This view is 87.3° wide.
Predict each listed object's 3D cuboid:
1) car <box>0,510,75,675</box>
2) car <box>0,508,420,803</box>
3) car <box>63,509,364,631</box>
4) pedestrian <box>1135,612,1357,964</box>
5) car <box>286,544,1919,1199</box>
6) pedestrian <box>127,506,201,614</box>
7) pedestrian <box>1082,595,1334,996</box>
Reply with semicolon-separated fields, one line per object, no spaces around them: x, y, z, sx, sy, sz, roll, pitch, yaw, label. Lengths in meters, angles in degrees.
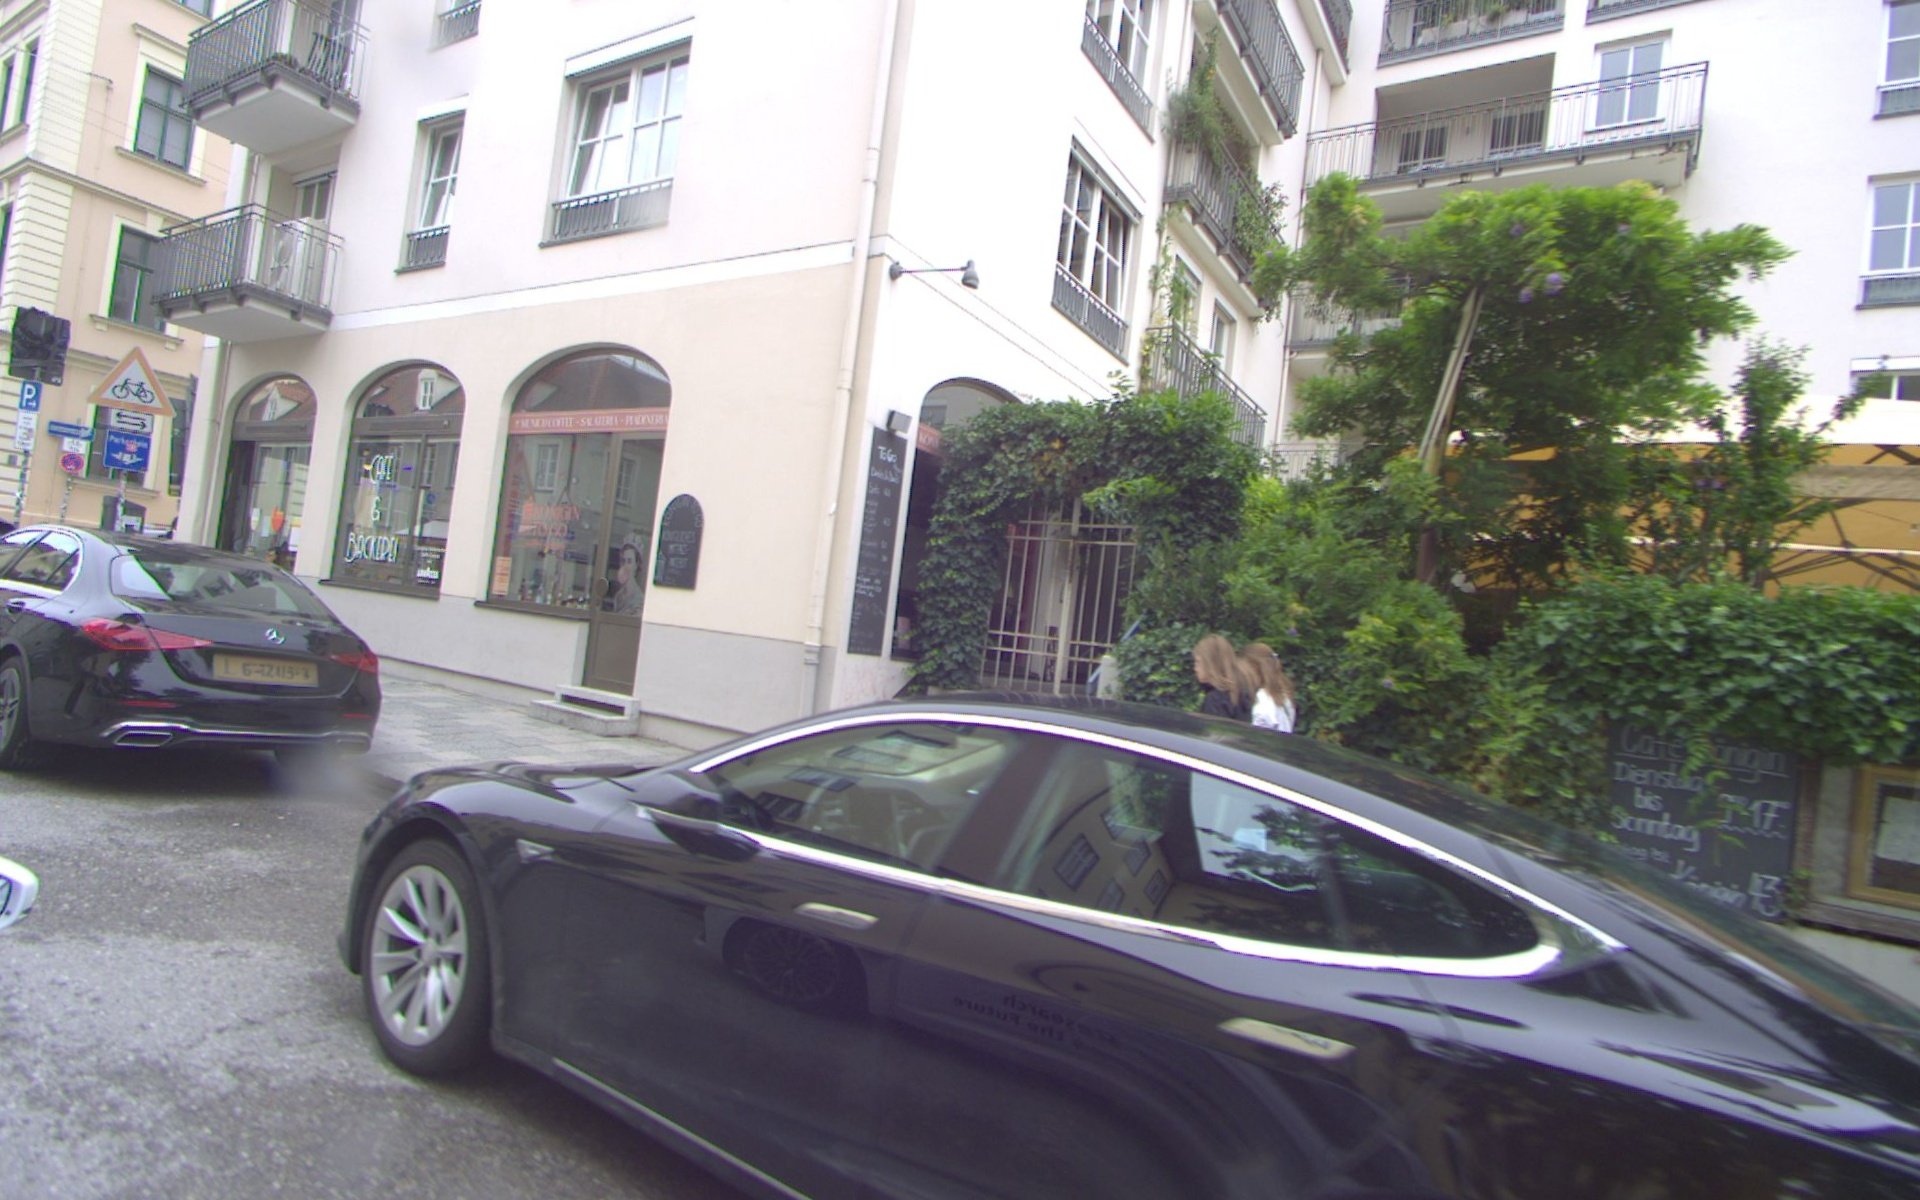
-10.585;-0.350;9.766;4.133;1.439;1.681;7;-4;31;car
-5.939;0.224;7.055;4.435;1.439;1.651;7;-4;32;car
-13.932;-0.492;19.039;1.726;1.624;4.097;8;-1;31;car
1.576;0.964;5.511;0.866;1.680;0.706;5;-2;32;pedestrian
0.187;0.850;2.919;4.581;1.426;1.806;7;-3;33;car
-13.030;-0.639;16.482;0.517;1.666;0.636;5;-2;25;pedestrian
1.213;0.876;4.879;0.866;1.680;0.706;5;-2;32;pedestrian
